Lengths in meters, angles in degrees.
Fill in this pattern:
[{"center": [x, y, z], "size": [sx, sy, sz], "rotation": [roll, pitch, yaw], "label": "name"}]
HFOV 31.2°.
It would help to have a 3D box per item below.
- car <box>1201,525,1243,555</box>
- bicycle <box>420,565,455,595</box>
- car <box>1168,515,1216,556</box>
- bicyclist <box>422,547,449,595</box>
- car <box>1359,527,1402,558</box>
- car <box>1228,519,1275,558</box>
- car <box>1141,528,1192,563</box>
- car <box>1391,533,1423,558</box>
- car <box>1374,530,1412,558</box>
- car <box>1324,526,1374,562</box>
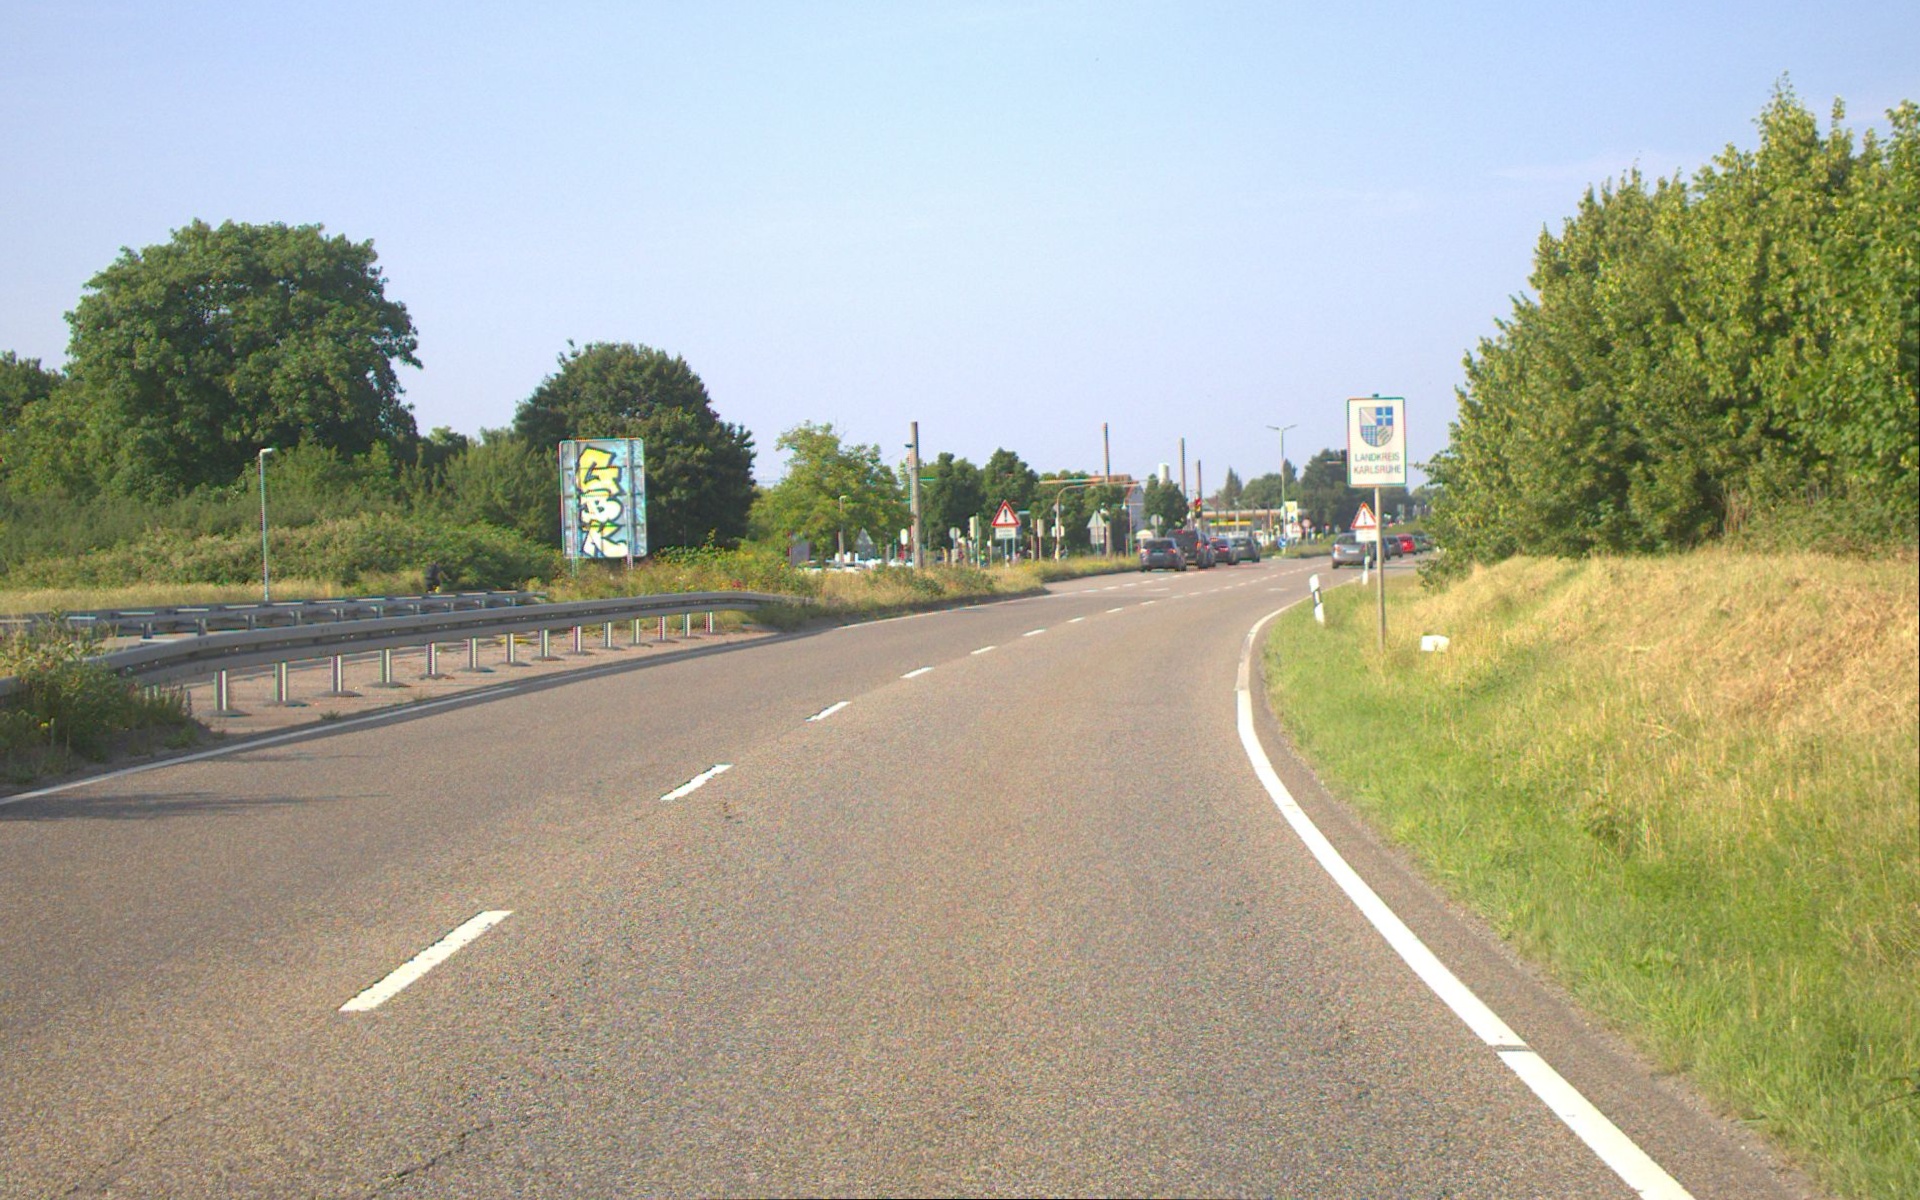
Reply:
[{"center": [13.344, -3.060, 175.082], "size": [1.770, 1.466, 4.014], "rotation": [-1, 1, 10], "label": "car"}, {"center": [-15.575, -0.604, 102.538], "size": [0.530, 0.875, 1.704], "rotation": [-1, 1, 9], "label": "bicycle"}, {"center": [10.636, -2.969, 157.652], "size": [1.733, 1.849, 4.518], "rotation": [-1, 1, 10], "label": "car"}, {"center": [-15.627, -0.866, 102.516], "size": [0.467, 1.385, 1.047], "rotation": [-1, 1, 9], "label": "bicyclist"}, {"center": [21.929, -2.992, 179.202], "size": [1.994, 1.546, 3.999], "rotation": [-1, 1, 10], "label": "car"}, {"center": [16.342, -3.414, 192.571], "size": [1.994, 2.007, 4.834], "rotation": [-1, -1, 12], "label": "car"}, {"center": [9.092, -2.405, 150.961], "size": [1.733, 1.451, 4.518], "rotation": [-1, 1, 10], "label": "car"}, {"center": [29.572, -3.596, 227.245], "size": [1.994, 1.590, 3.999], "rotation": [-2, 1, 9], "label": "car"}, {"center": [25.106, -3.229, 199.028], "size": [1.994, 1.546, 3.999], "rotation": [-1, 1, 10], "label": "car"}, {"center": [17.656, -2.545, 155.883], "size": [1.994, 1.546, 3.999], "rotation": [-1, 1, 10], "label": "car"}]
